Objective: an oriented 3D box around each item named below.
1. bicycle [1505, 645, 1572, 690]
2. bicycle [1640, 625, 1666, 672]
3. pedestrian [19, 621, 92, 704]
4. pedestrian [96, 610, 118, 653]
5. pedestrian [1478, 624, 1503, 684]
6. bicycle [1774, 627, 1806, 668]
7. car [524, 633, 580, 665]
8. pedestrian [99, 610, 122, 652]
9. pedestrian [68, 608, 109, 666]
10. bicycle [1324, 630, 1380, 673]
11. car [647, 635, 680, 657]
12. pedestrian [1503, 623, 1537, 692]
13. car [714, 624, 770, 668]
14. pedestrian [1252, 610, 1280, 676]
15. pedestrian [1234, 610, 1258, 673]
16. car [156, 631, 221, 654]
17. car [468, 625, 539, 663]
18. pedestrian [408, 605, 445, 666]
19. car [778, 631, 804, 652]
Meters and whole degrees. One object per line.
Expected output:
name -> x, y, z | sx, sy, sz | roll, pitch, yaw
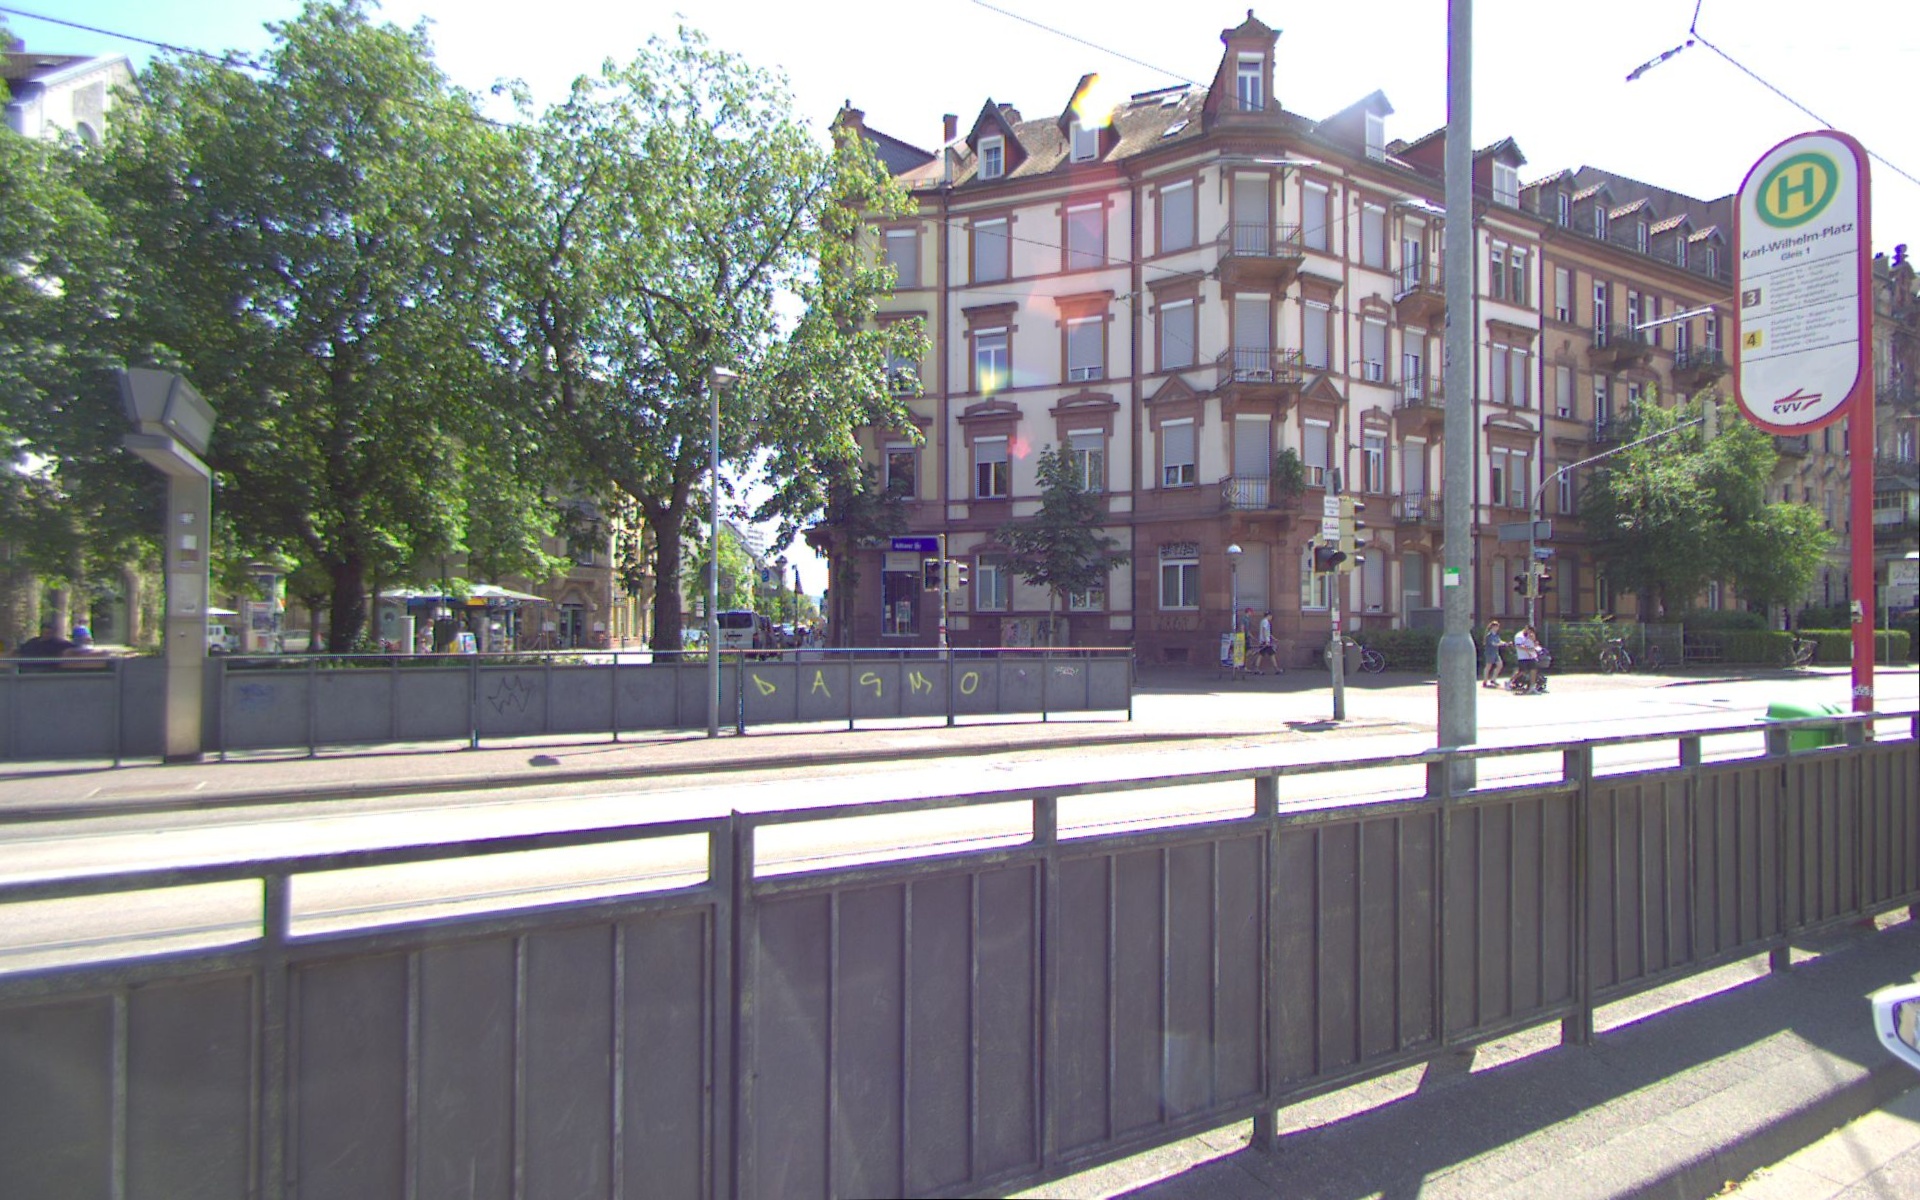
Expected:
bicycle -> 14.549, 1.693, 25.284 | 1.375, 1.027, 0.389 | 2, 0, 21
bicycle -> 21.851, 1.519, 31.695 | 0.606, 1.414, 2.301 | 0, -1, 34
pedestrian -> -14.605, 0.996, 16.222 | 0.607, 1.304, 0.646 | 1, -1, 21
pedestrian -> -32.921, 1.208, 38.769 | 0.520, 1.644, 0.493 | 1, -1, -30
pedestrian -> 13.780, 1.394, 26.115 | 0.497, 1.536, 0.469 | 1, -1, 18
bicycle -> 28.520, 1.609, 34.523 | 0.583, 1.374, 2.434 | 0, -1, 34
car -> -20.326, 2.419, 50.203 | 1.512, 1.461, 3.739 | 1, -1, -5
pedestrian -> -33.190, 1.213, 39.248 | 0.554, 1.644, 0.510 | 1, -1, -30
pedestrian -> -27.164, 1.142, 31.324 | 0.703, 1.774, 0.616 | 1, -1, -6
bicycle -> 11.607, 1.515, 29.766 | 1.494, 1.185, 0.364 | 1, 0, 34
car -> -20.943, 3.227, 71.060 | 1.513, 1.461, 3.738 | 1, -1, -6
pedestrian -> 13.736, 1.402, 24.649 | 0.641, 1.637, 0.469 | 1, 2, 18
car -> -7.951, 1.650, 36.892 | 1.512, 1.461, 3.739 | 1, -1, -5
pedestrian -> 8.713, 1.204, 28.562 | 0.556, 1.849, 0.632 | 0, -1, 39
pedestrian -> 8.265, 1.202, 29.008 | 0.500, 1.791, 0.527 | 0, -1, 39
car -> -31.106, 1.701, 40.512 | 0.847, 0.876, 1.910 | 0, -1, 35
car -> -19.157, 1.816, 42.278 | 1.512, 1.461, 3.739 | 1, -1, -5
pedestrian -> -17.873, 1.189, 33.663 | 0.797, 2.040, 0.716 | 0, -1, 9
car -> -12.557, 3.042, 74.780 | 1.512, 1.461, 3.739 | 1, -1, -5
